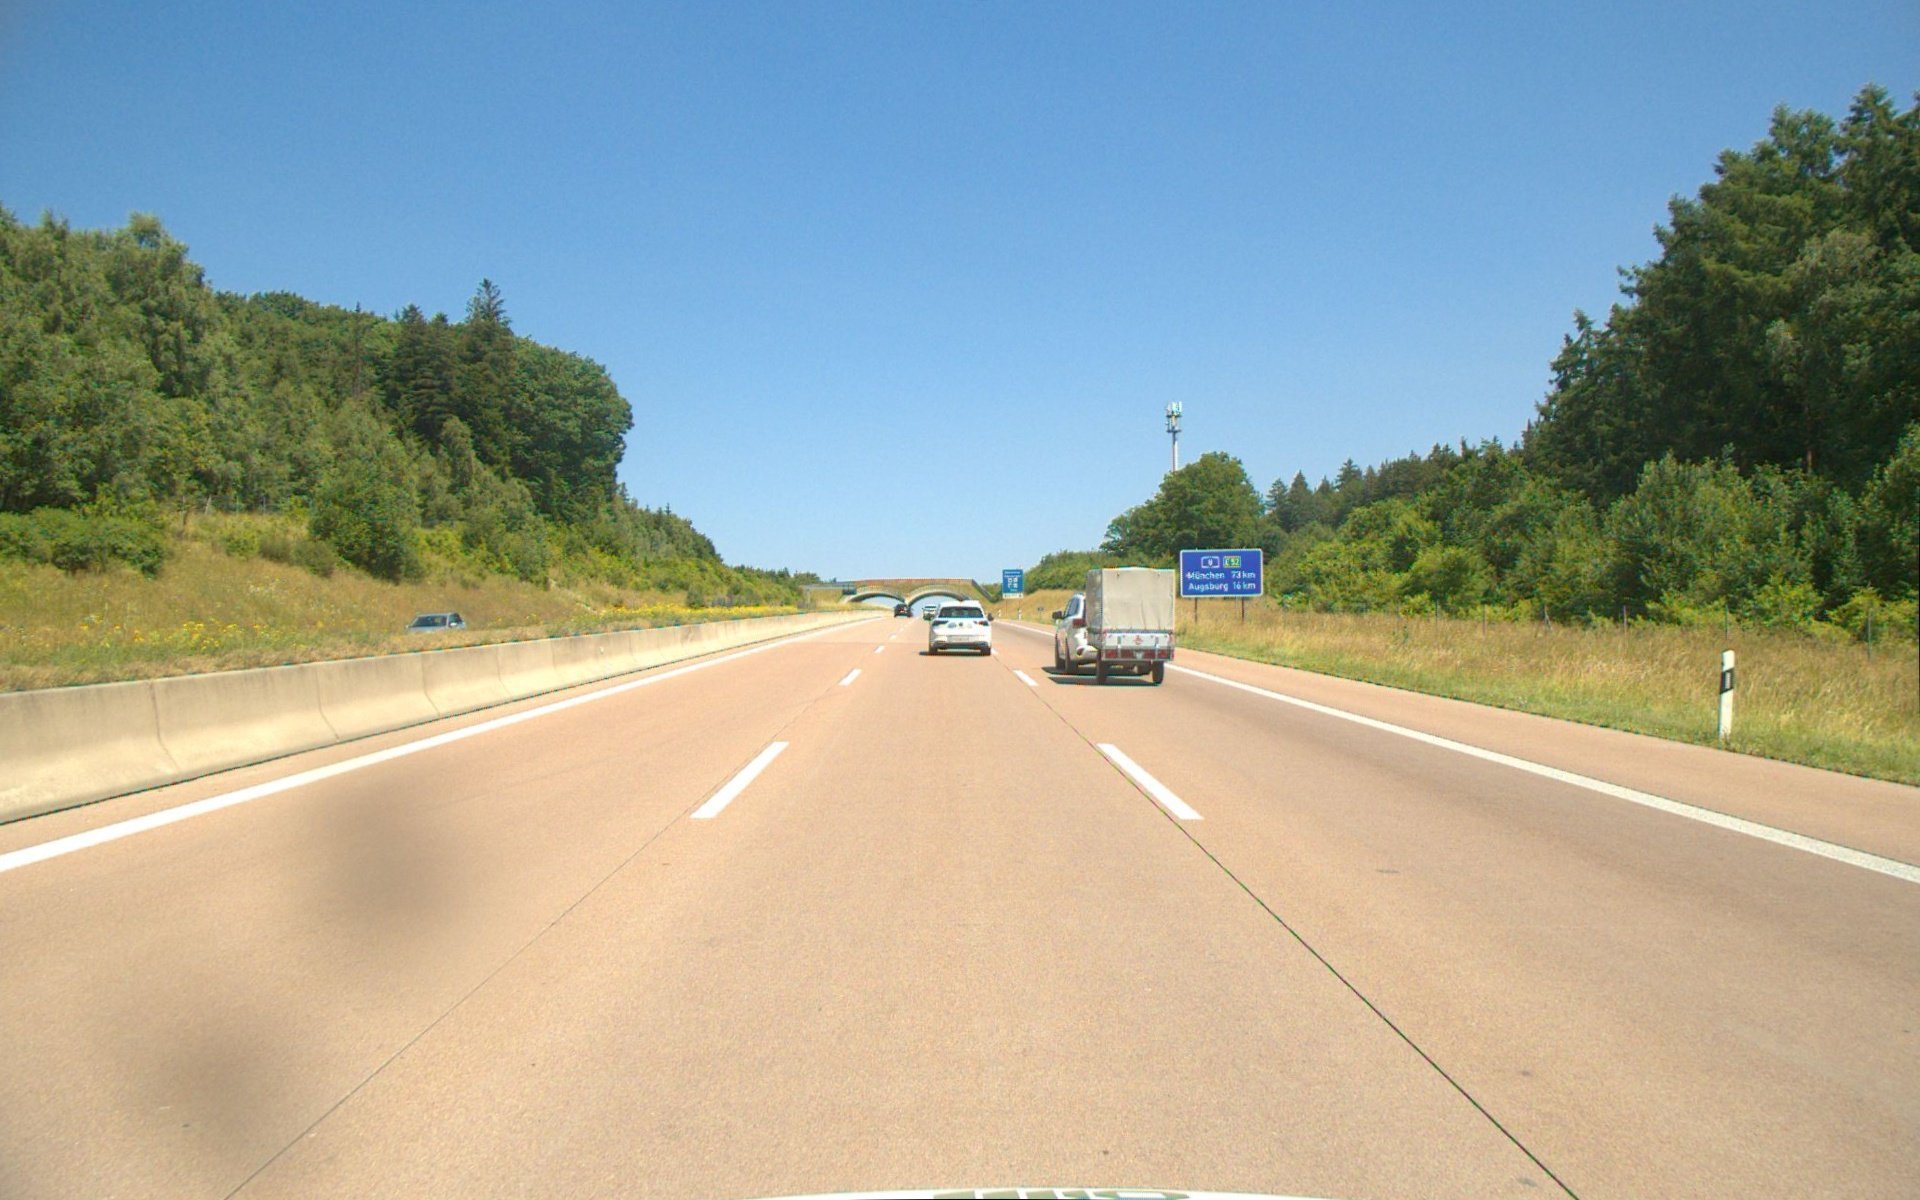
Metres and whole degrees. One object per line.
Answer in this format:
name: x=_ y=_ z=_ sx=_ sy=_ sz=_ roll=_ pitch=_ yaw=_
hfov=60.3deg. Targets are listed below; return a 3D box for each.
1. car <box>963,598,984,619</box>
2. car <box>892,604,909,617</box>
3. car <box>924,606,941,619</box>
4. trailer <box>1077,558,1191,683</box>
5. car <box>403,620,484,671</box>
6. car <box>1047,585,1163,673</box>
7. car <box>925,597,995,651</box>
car: x=1.340 y=0.813 z=162.596 sx=2.067 sy=2.090 sz=4.001 roll=0 pitch=0 yaw=1
car: x=-7.146 y=1.264 z=200.270 sx=1.852 sy=1.489 sz=4.001 roll=0 pitch=0 yaw=1
car: x=-3.129 y=1.412 z=186.645 sx=1.852 sy=1.489 sz=3.999 roll=1 pitch=0 yaw=-1
trailer: x=3.220 y=0.379 z=31.302 sx=1.624 sy=2.202 sz=4.014 roll=0 pitch=0 yaw=-2
car: x=-19.454 y=1.690 z=62.529 sx=1.853 sy=1.769 sz=4.461 roll=0 pitch=0 yaw=-3
car: x=3.060 y=0.596 z=35.852 sx=1.853 sy=1.758 sz=5.183 roll=0 pitch=0 yaw=-2
car: x=-0.039 y=0.653 z=46.558 sx=1.852 sy=1.422 sz=3.999 roll=1 pitch=0 yaw=-1
